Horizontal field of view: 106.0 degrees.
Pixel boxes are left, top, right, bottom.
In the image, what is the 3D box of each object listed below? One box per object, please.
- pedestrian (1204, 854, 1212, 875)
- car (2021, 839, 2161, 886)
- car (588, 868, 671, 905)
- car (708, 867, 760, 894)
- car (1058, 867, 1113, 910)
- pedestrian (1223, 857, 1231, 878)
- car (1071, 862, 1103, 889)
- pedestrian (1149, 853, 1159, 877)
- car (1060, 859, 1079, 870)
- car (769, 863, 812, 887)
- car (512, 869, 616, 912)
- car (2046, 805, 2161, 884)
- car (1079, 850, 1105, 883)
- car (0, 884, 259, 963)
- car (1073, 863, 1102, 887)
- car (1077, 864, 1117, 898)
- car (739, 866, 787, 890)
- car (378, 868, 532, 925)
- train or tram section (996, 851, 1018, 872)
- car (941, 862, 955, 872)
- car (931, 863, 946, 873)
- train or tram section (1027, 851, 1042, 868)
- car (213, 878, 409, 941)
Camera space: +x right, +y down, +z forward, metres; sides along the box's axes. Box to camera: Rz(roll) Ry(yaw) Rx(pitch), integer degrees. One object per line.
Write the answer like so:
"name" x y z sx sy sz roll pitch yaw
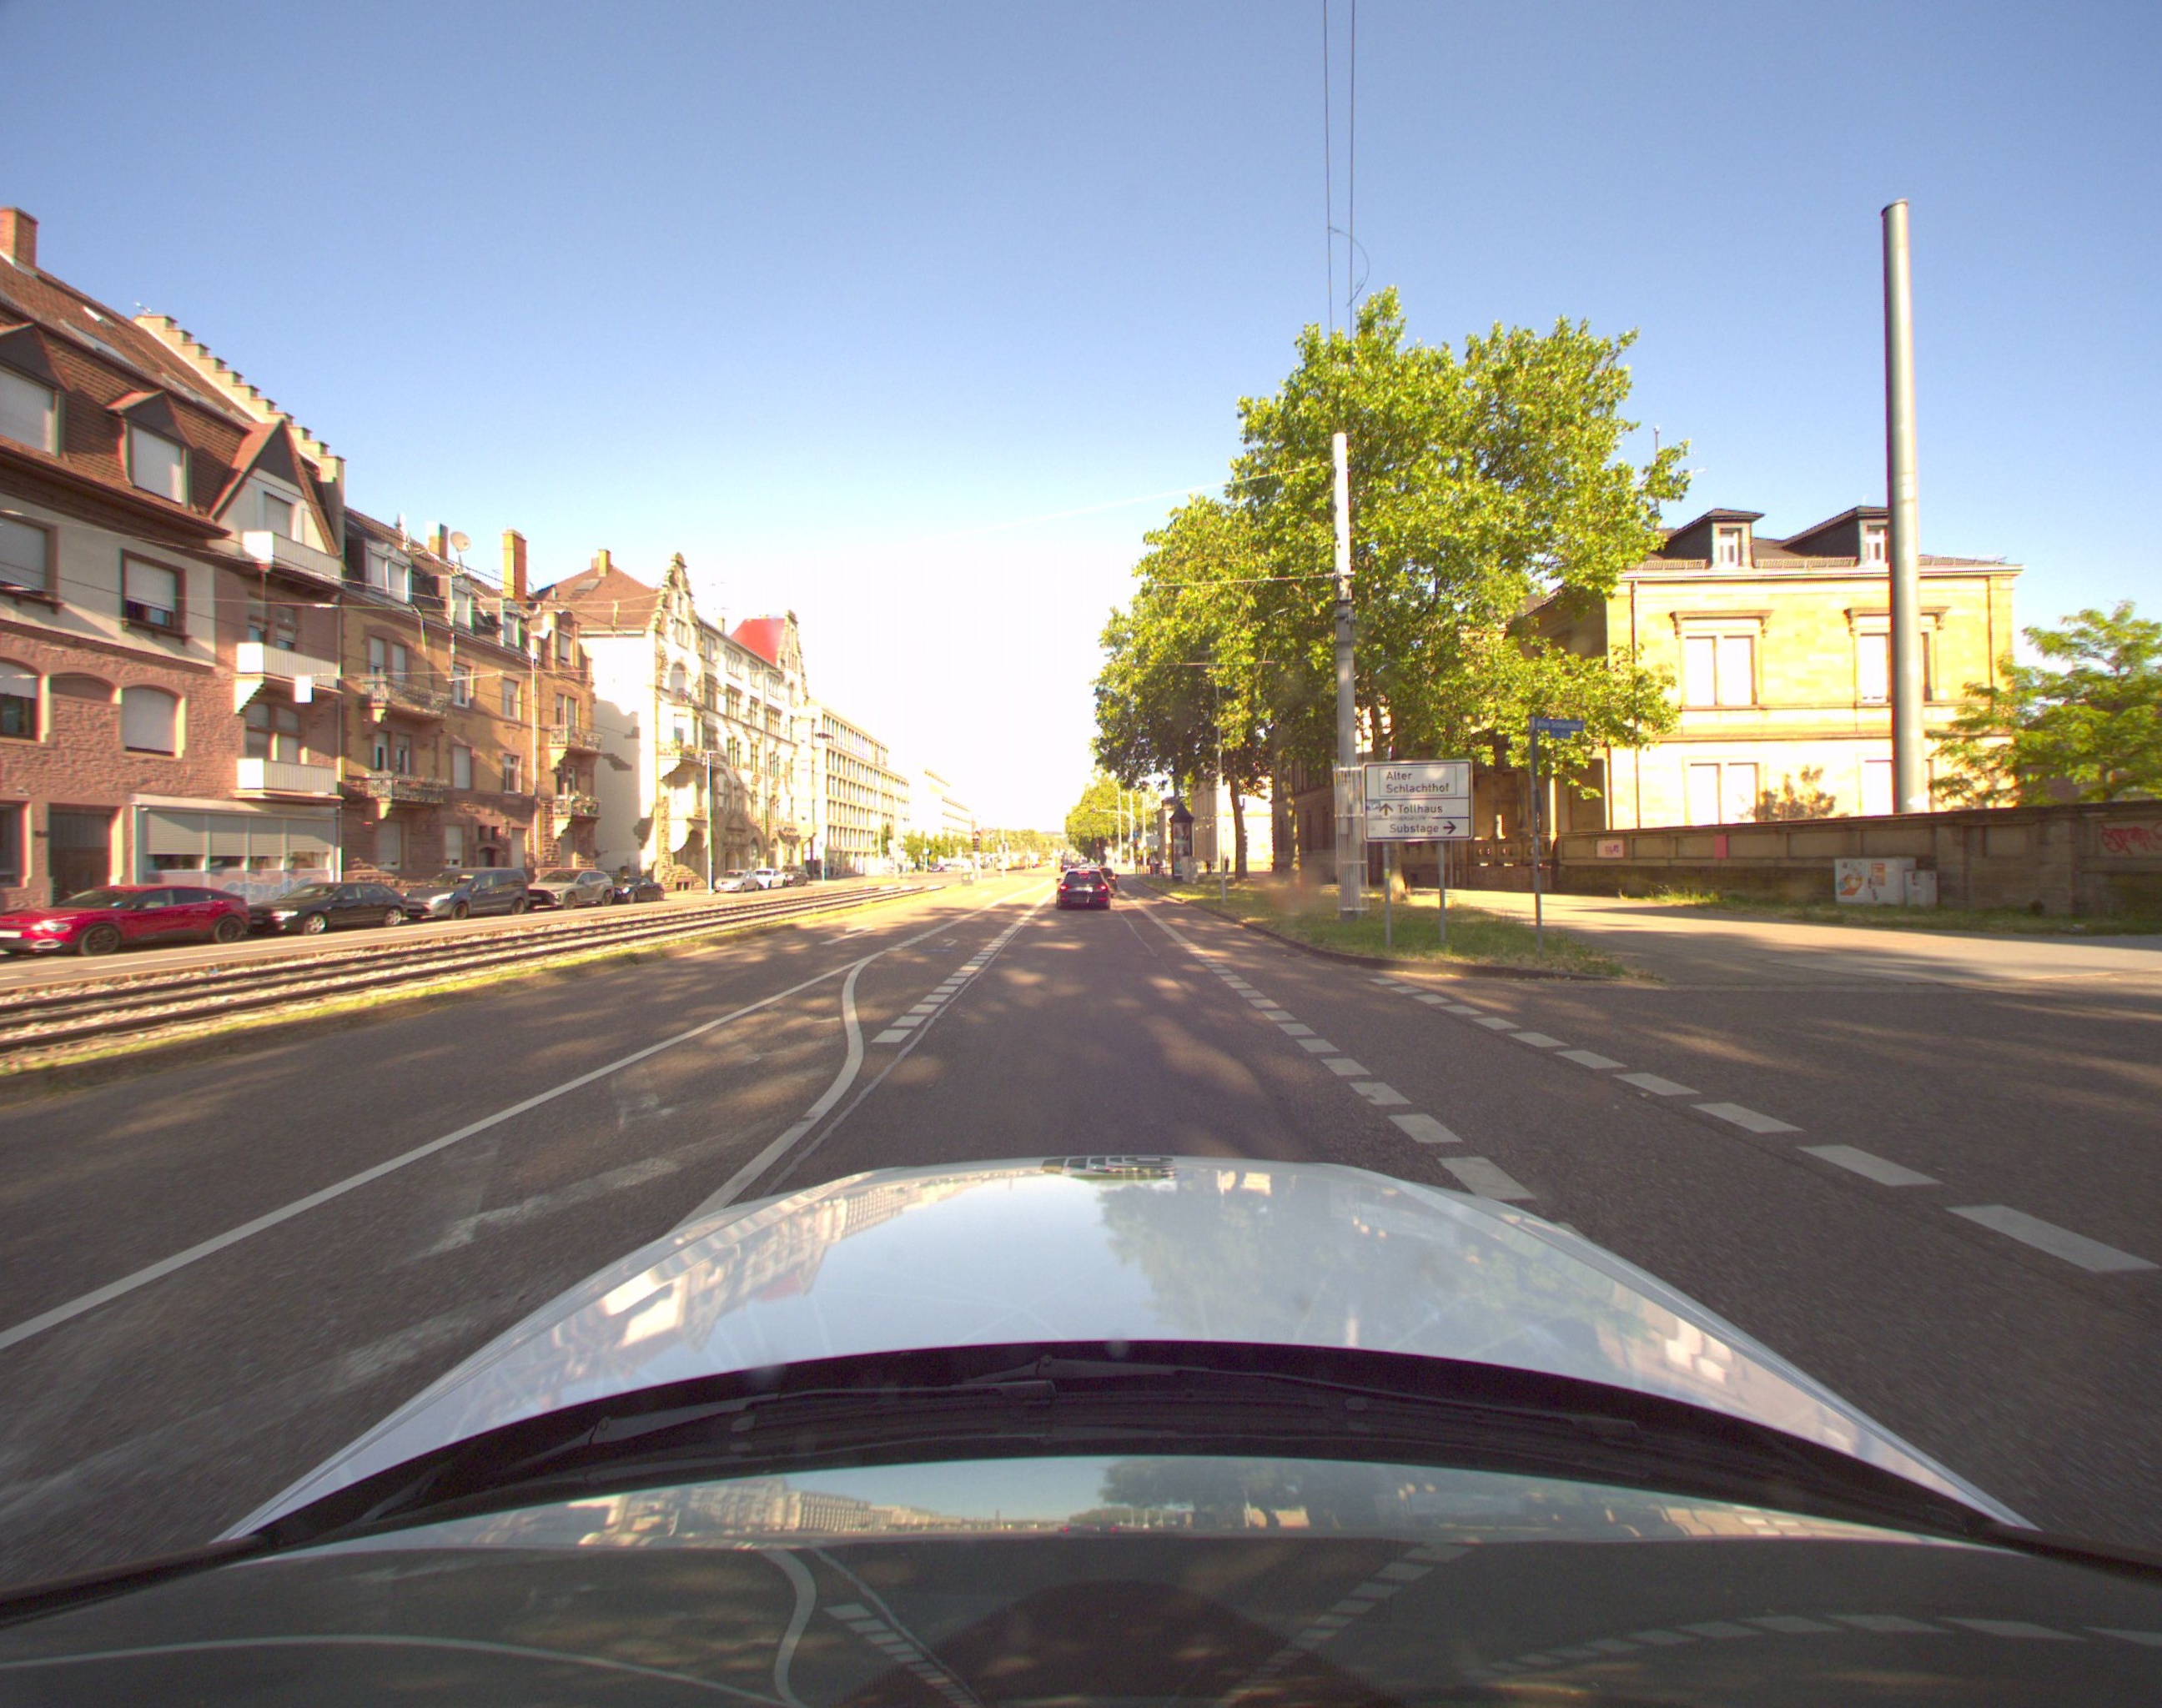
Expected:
"pedestrian" 10.411 0.871 66.832 0.584 1.728 0.652 0 0 13
"car" 35.549 0.296 27.837 4.078 1.510 1.809 -1 -2 22
"car" -22.118 1.554 40.089 1.681 1.652 4.198 2 0 0
"car" -22.236 1.671 52.329 1.791 1.510 3.994 2 0 -4
"car" 0.136 1.178 29.511 1.828 1.391 4.157 -1 0 0
"pedestrian" 11.925 1.109 66.645 0.584 1.728 0.652 0 0 15
"car" 0.382 1.253 48.376 1.788 1.510 4.000 -2 -1 1
"pedestrian" 5.234 0.808 58.531 0.584 1.728 0.652 0 0 13
"car" -1.546 1.432 110.053 1.783 1.510 4.011 0 -1 11
"car" -22.564 1.618 63.381 1.789 1.719 4.183 2 0 -1
"car" -22.016 1.503 34.878 1.681 1.652 4.198 2 0 0
"car" 39.457 -0.356 29.627 5.296 2.807 1.809 -1 -2 22
"car" 0.784 0.922 60.043 1.788 2.311 4.000 -2 -1 1
"car" -22.270 1.521 19.004 1.789 1.460 4.264 2 0 -1
"car" 0.420 1.354 53.781 1.788 1.510 4.000 -2 -1 1
"car" 0.756 1.243 38.965 1.788 1.510 4.000 -2 -1 1
"car" -22.511 1.692 57.811 1.789 1.510 4.183 2 0 -1
"car" -22.032 1.434 28.931 1.787 1.754 4.458 2 0 3
"train or tram section" -12.596 1.283 139.892 2.816 3.451 9.063 -2 0 0
"car" -22.240 2.190 136.544 1.790 1.510 3.996 -1 0 -2
"car" -22.760 2.148 129.755 1.790 1.510 3.996 -1 0 -2
"train or tram section" -9.790 1.148 171.507 2.817 3.451 9.058 -1 0 -1
"car" -22.110 1.539 23.637 1.788 1.510 3.999 2 0 0
